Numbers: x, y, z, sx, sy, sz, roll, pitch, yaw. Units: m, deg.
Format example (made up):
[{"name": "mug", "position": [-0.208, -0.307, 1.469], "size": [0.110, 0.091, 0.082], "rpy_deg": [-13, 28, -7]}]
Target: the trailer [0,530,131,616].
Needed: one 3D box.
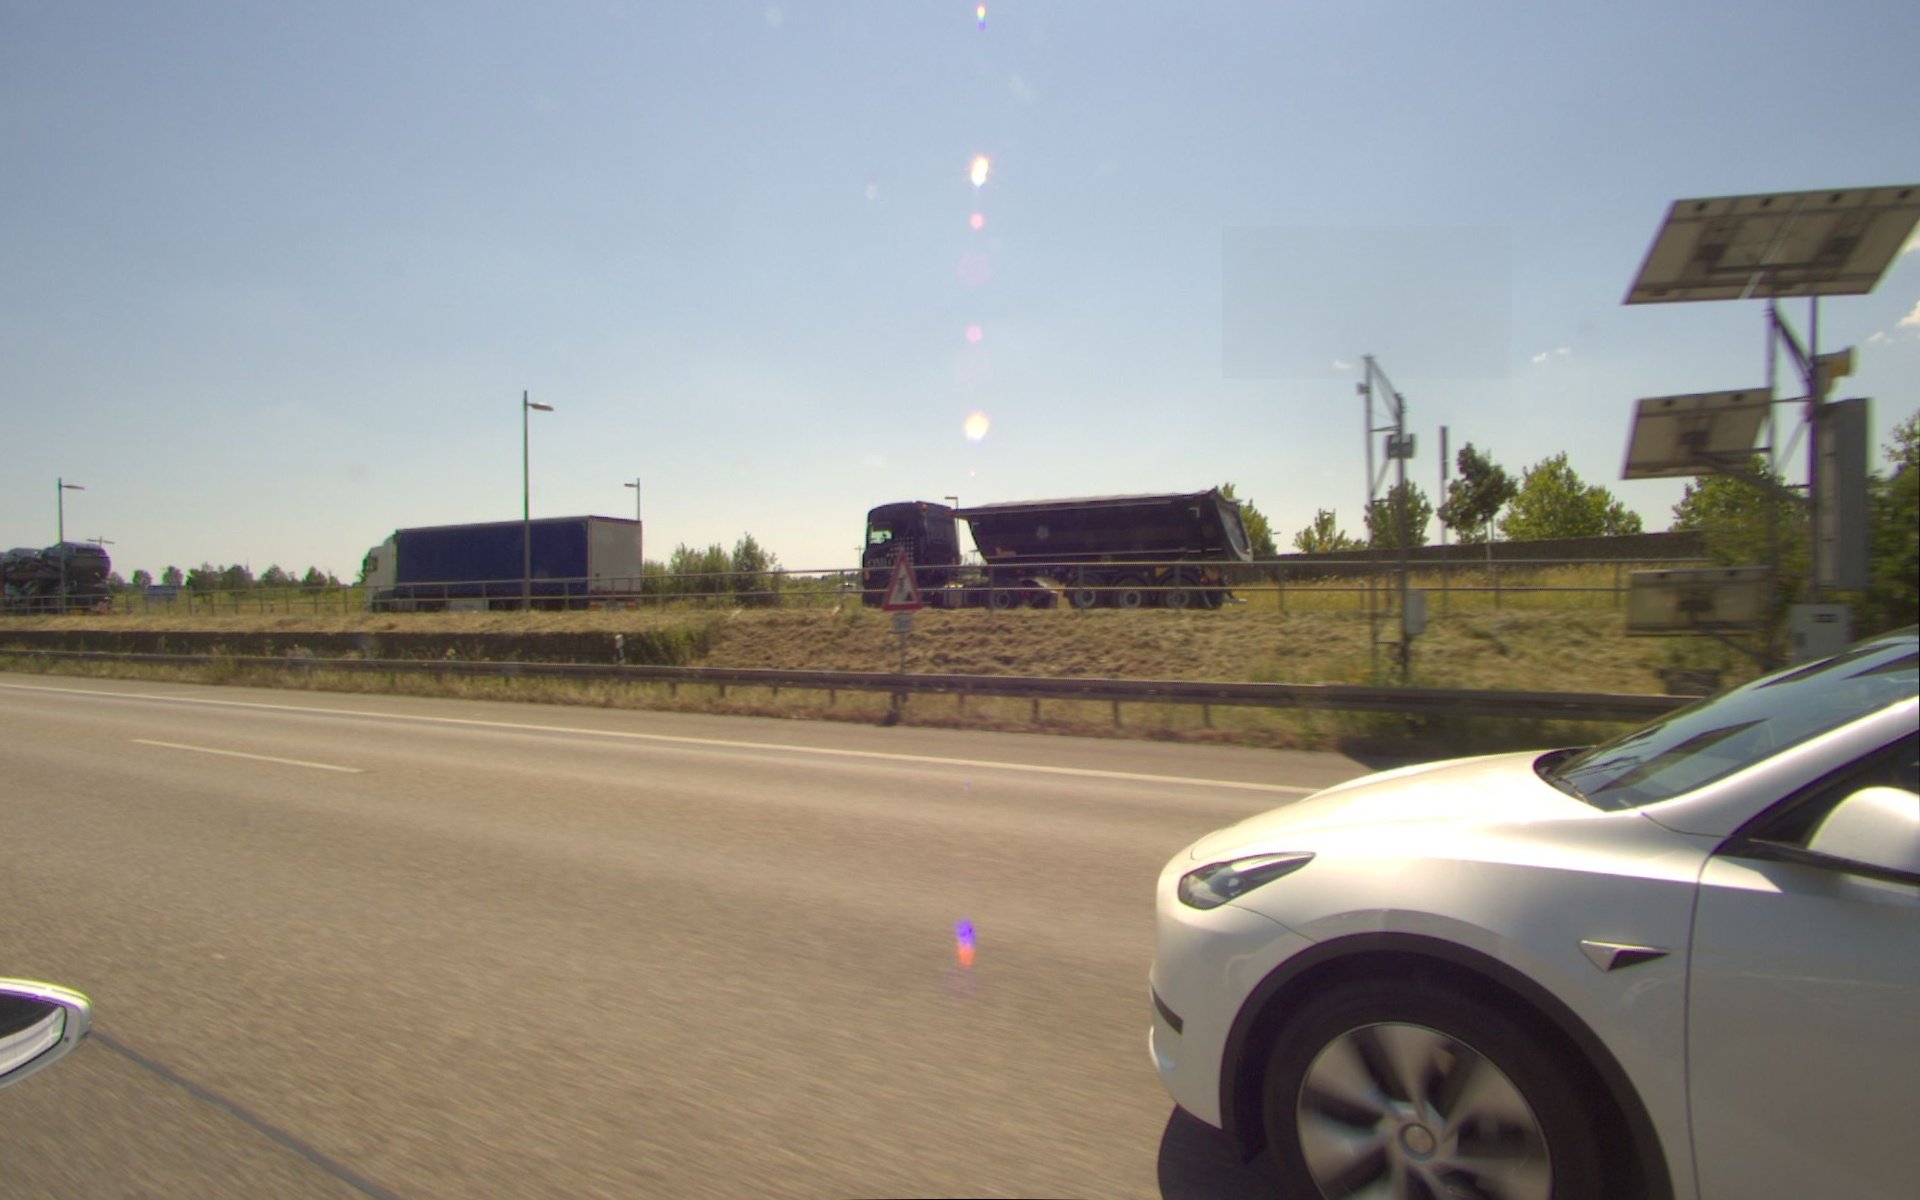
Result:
[{"name": "trailer", "position": [-53.842, -1.323, 58.570], "size": [18.157, 4.312, 2.601], "rpy_deg": [-1, -2, 32]}]

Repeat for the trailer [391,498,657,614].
[{"name": "trailer", "position": [-18.967, -1.600, 42.862], "size": [14.054, 4.135, 3.047], "rpy_deg": [-1, -2, 32]}]

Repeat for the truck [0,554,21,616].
[{"name": "truck", "position": [-62.482, -0.962, 63.997], "size": [3.943, 3.876, 2.598], "rpy_deg": [-1, -2, 32]}]

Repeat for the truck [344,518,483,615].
[{"name": "truck", "position": [-25.729, -1.435, 47.121], "size": [6.306, 4.135, 3.048], "rpy_deg": [-1, -2, 32]}]

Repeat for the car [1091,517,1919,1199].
[{"name": "car", "position": [3.178, 0.694, 1.931], "size": [5.519, 1.657, 1.948], "rpy_deg": [-1, -2, 32]}]

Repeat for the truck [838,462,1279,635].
[{"name": "truck", "position": [2.499, -1.076, 29.042], "size": [12.336, 4.135, 3.783], "rpy_deg": [-1, -2, 31]}]
